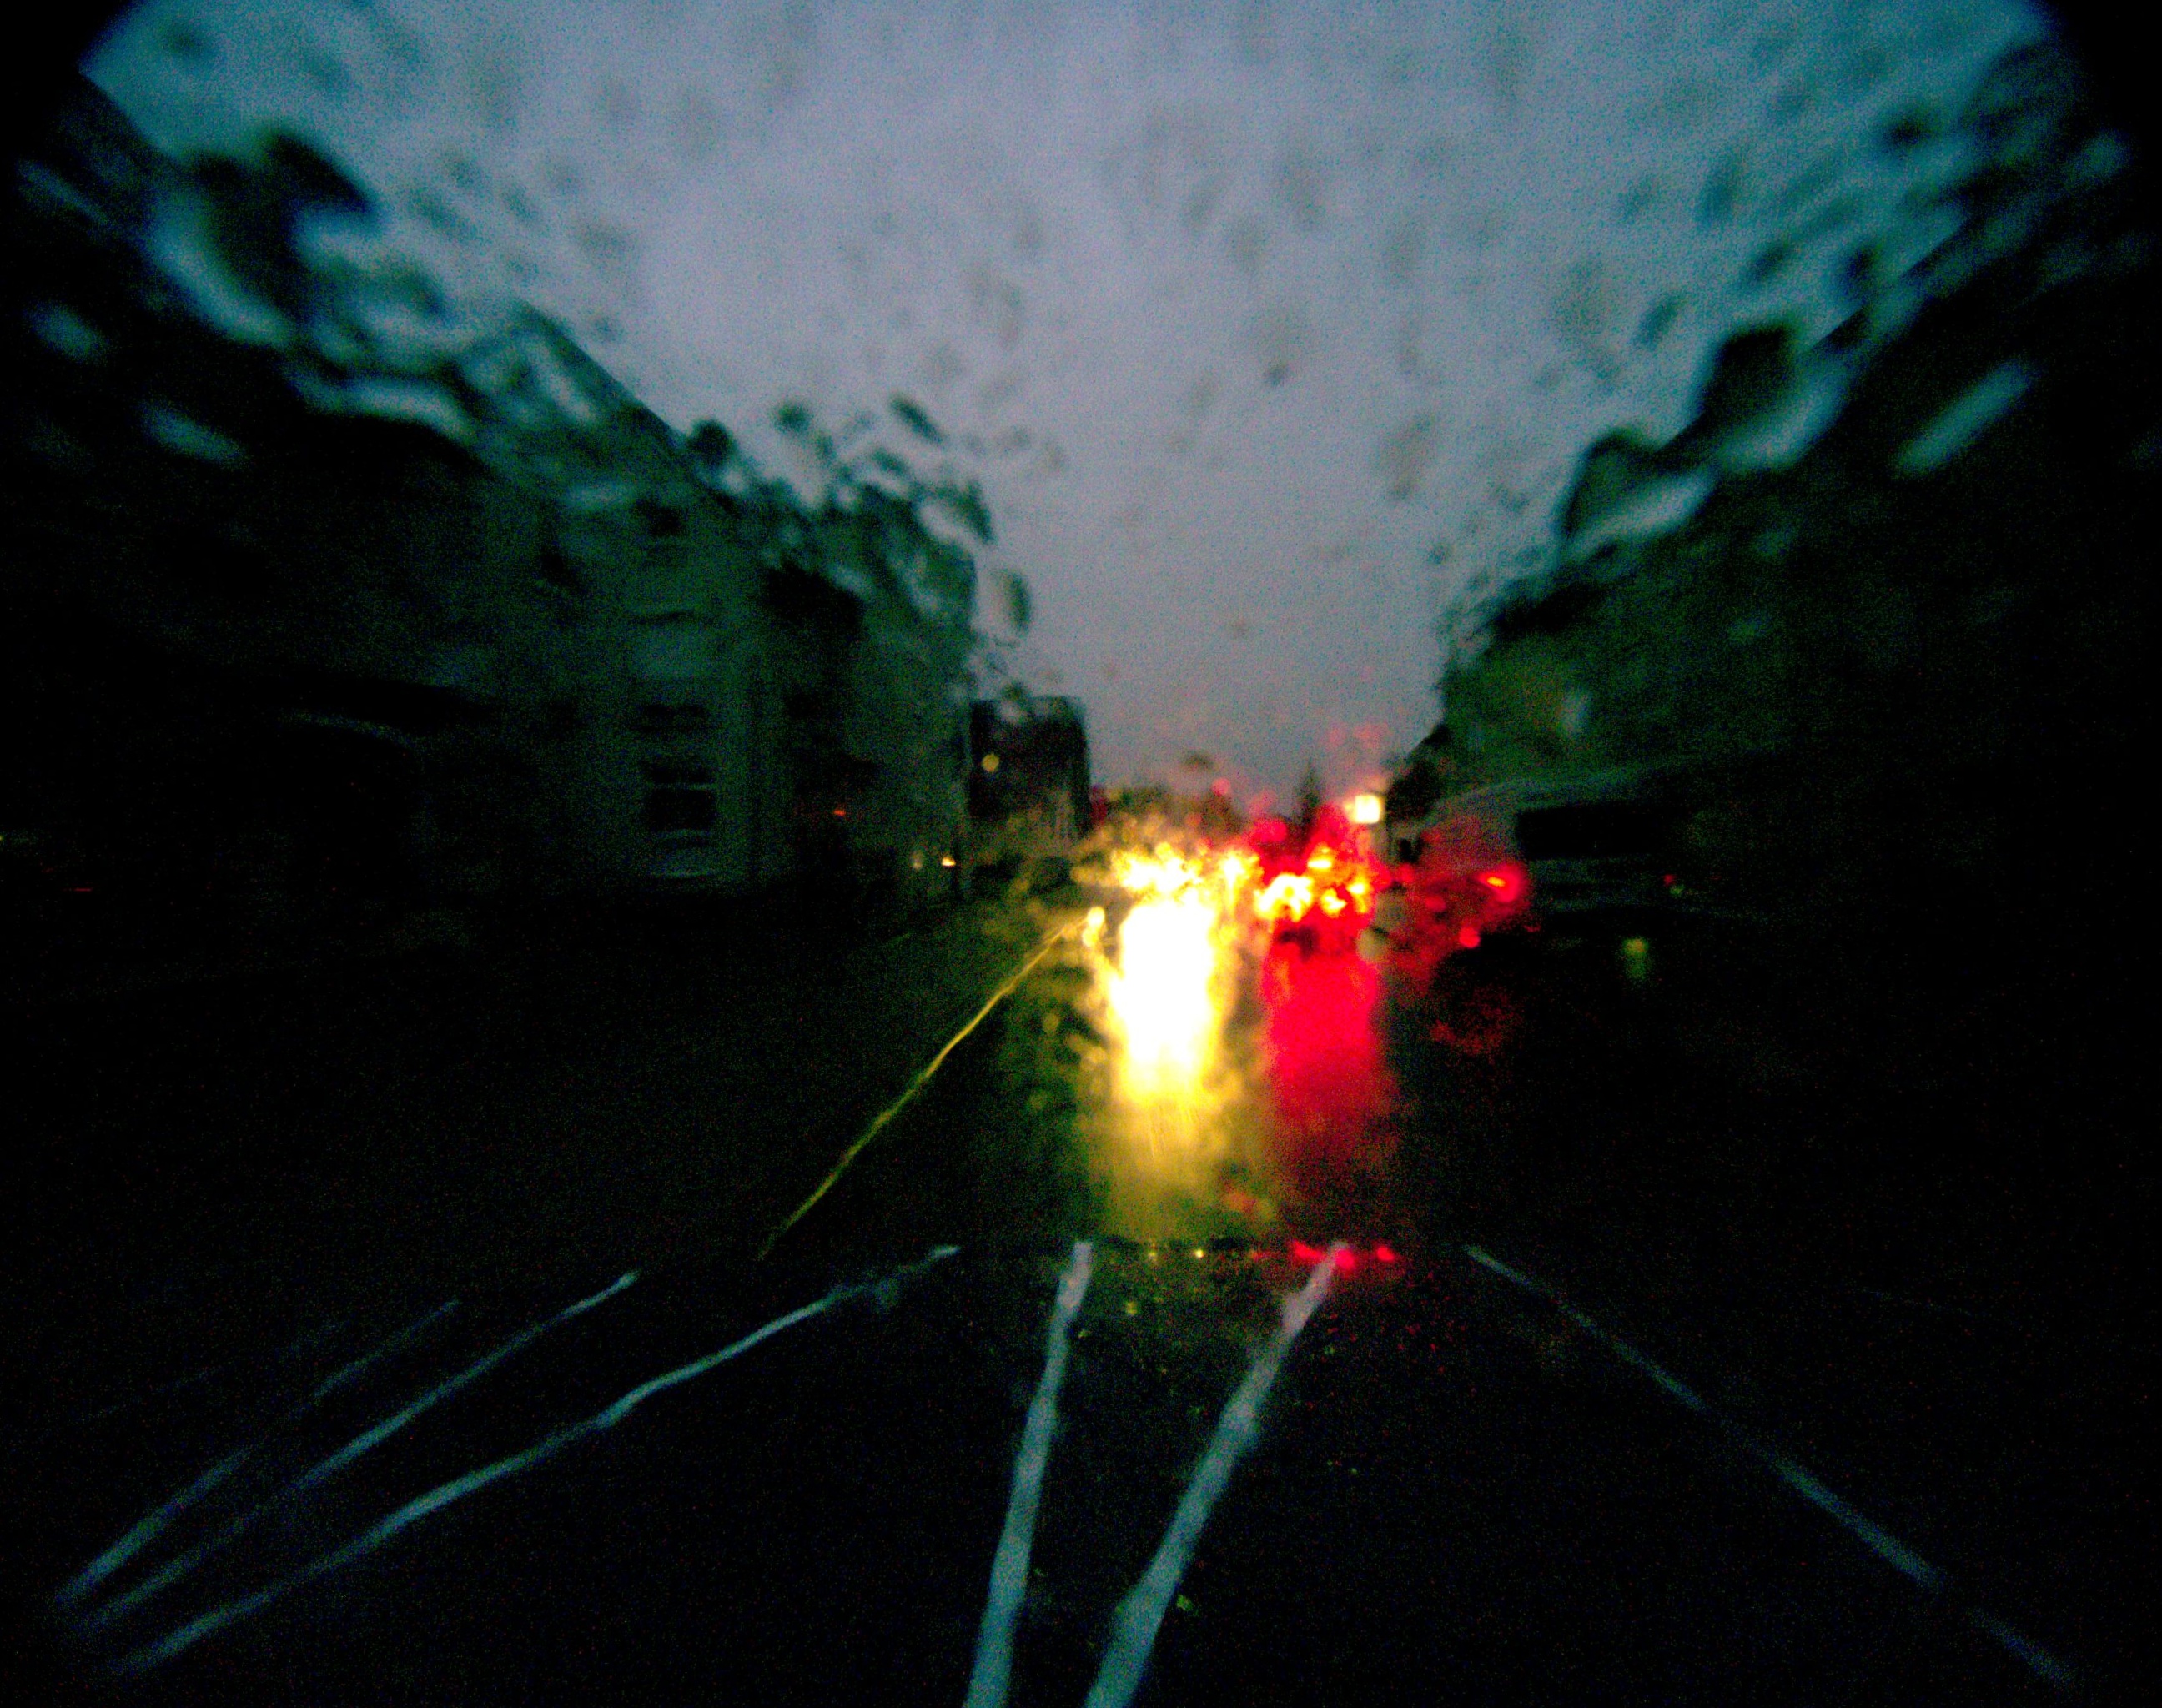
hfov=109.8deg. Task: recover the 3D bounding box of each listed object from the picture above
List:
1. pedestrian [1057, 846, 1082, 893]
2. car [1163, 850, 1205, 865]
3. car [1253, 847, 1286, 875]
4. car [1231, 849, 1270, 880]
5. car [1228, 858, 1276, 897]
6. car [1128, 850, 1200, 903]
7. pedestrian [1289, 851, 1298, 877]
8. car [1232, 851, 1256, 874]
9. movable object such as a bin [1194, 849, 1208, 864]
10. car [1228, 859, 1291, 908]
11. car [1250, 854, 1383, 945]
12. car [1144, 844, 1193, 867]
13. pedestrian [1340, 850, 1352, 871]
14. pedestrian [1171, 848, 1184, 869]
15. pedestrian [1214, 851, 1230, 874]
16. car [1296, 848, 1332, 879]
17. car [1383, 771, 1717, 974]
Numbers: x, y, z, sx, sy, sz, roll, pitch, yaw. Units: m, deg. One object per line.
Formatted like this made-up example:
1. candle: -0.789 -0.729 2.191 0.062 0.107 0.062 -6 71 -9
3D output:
1. pedestrian: -0.431 0.584 28.427 0.746 1.719 0.874 0 0 13
2. car: 10.739 0.352 79.211 3.991 1.478 1.915 0 2 19
3. car: 12.593 0.493 50.705 1.996 1.695 4.973 -3 -1 14
4. car: 9.177 0.604 41.368 1.954 1.537 4.421 1 -2 11
5. car: 7.715 0.993 33.978 1.860 1.546 4.263 1 0 15
6. car: 3.050 0.747 27.210 1.996 1.720 4.004 -2 0 14
7. pedestrian: 13.220 0.609 47.299 0.529 1.576 0.577 0 0 14
8. car: 14.874 0.755 69.178 1.996 2.002 4.004 -2 0 14
9. movable object such as a bin: 12.840 0.255 81.213 1.394 1.634 1.263 2 1 14
10. car: 6.241 0.978 26.974 1.997 1.546 4.261 1 0 11
11. car: 4.784 0.835 16.064 1.921 1.556 4.228 1 1 7
12. car: 8.251 0.137 71.526 4.093 2.038 2.003 2 1 25
13. pedestrian: 21.302 0.481 61.091 0.827 1.649 1.099 -2 0 16
14. pedestrian: 7.869 0.374 61.958 0.836 1.695 0.847 2 2 28
15. pedestrian: 11.736 0.681 63.267 0.944 1.865 1.010 -1 1 -24
16. car: 13.954 0.524 45.717 1.883 1.700 4.717 -2 0 16
17. car: 7.338 0.206 13.137 2.490 2.545 6.765 -2 1 9
